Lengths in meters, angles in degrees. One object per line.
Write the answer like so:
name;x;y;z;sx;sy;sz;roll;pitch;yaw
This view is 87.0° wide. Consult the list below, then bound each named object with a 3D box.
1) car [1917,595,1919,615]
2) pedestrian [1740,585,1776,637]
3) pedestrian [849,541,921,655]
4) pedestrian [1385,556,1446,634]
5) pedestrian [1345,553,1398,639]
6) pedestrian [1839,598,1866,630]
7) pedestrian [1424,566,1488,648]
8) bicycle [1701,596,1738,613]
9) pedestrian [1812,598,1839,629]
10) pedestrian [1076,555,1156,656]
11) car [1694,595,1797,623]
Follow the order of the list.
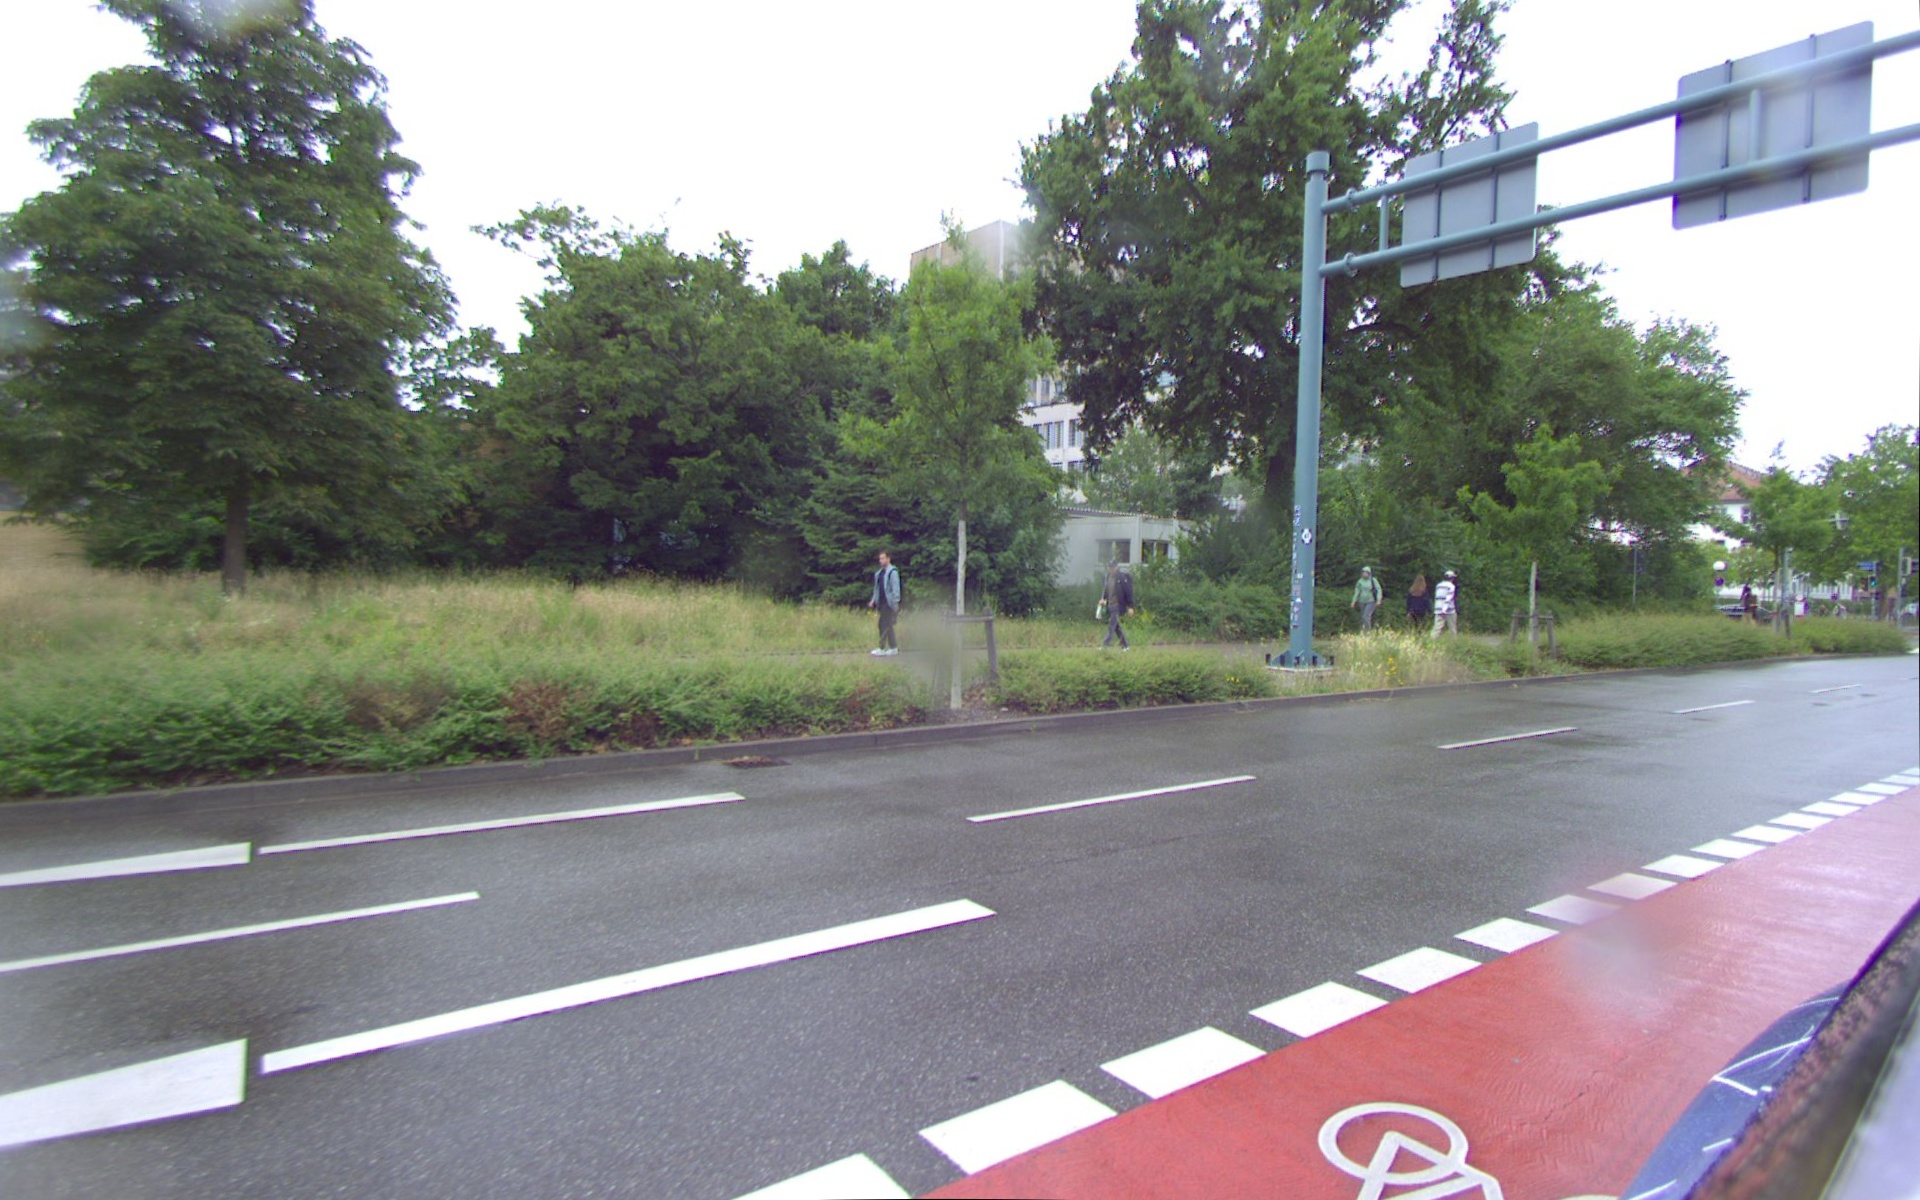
car;94.571;0.548;96.766;1.611;1.896;4.417;1;2;-44
pedestrian;29.356;0.391;37.229;0.833;1.882;0.733;1;1;-30
pedestrian;-1.254;-0.044;16.787;0.812;1.819;0.937;1;1;-30
pedestrian;10.510;-0.108;23.354;0.812;1.726;0.937;4;-2;-32
pedestrian;9.969;-0.114;24.514;0.812;2.039;0.794;1;1;-30
pedestrian;46.741;0.746;53.027;0.870;1.627;0.854;2;1;31
pedestrian;10.971;0.146;22.376;0.812;1.743;0.937;4;-2;-32
bicycle;60.092;0.325;80.087;2.277;1.237;0.590;3;1;42
pedestrian;45.955;0.709;53.753;0.869;1.627;0.856;2;1;26
pedestrian;2.831;0.089;18.409;1.024;1.769;0.937;1;1;-30
car;45.150;0.507;58.232;1.742;1.353;4.385;-3;4;-39
